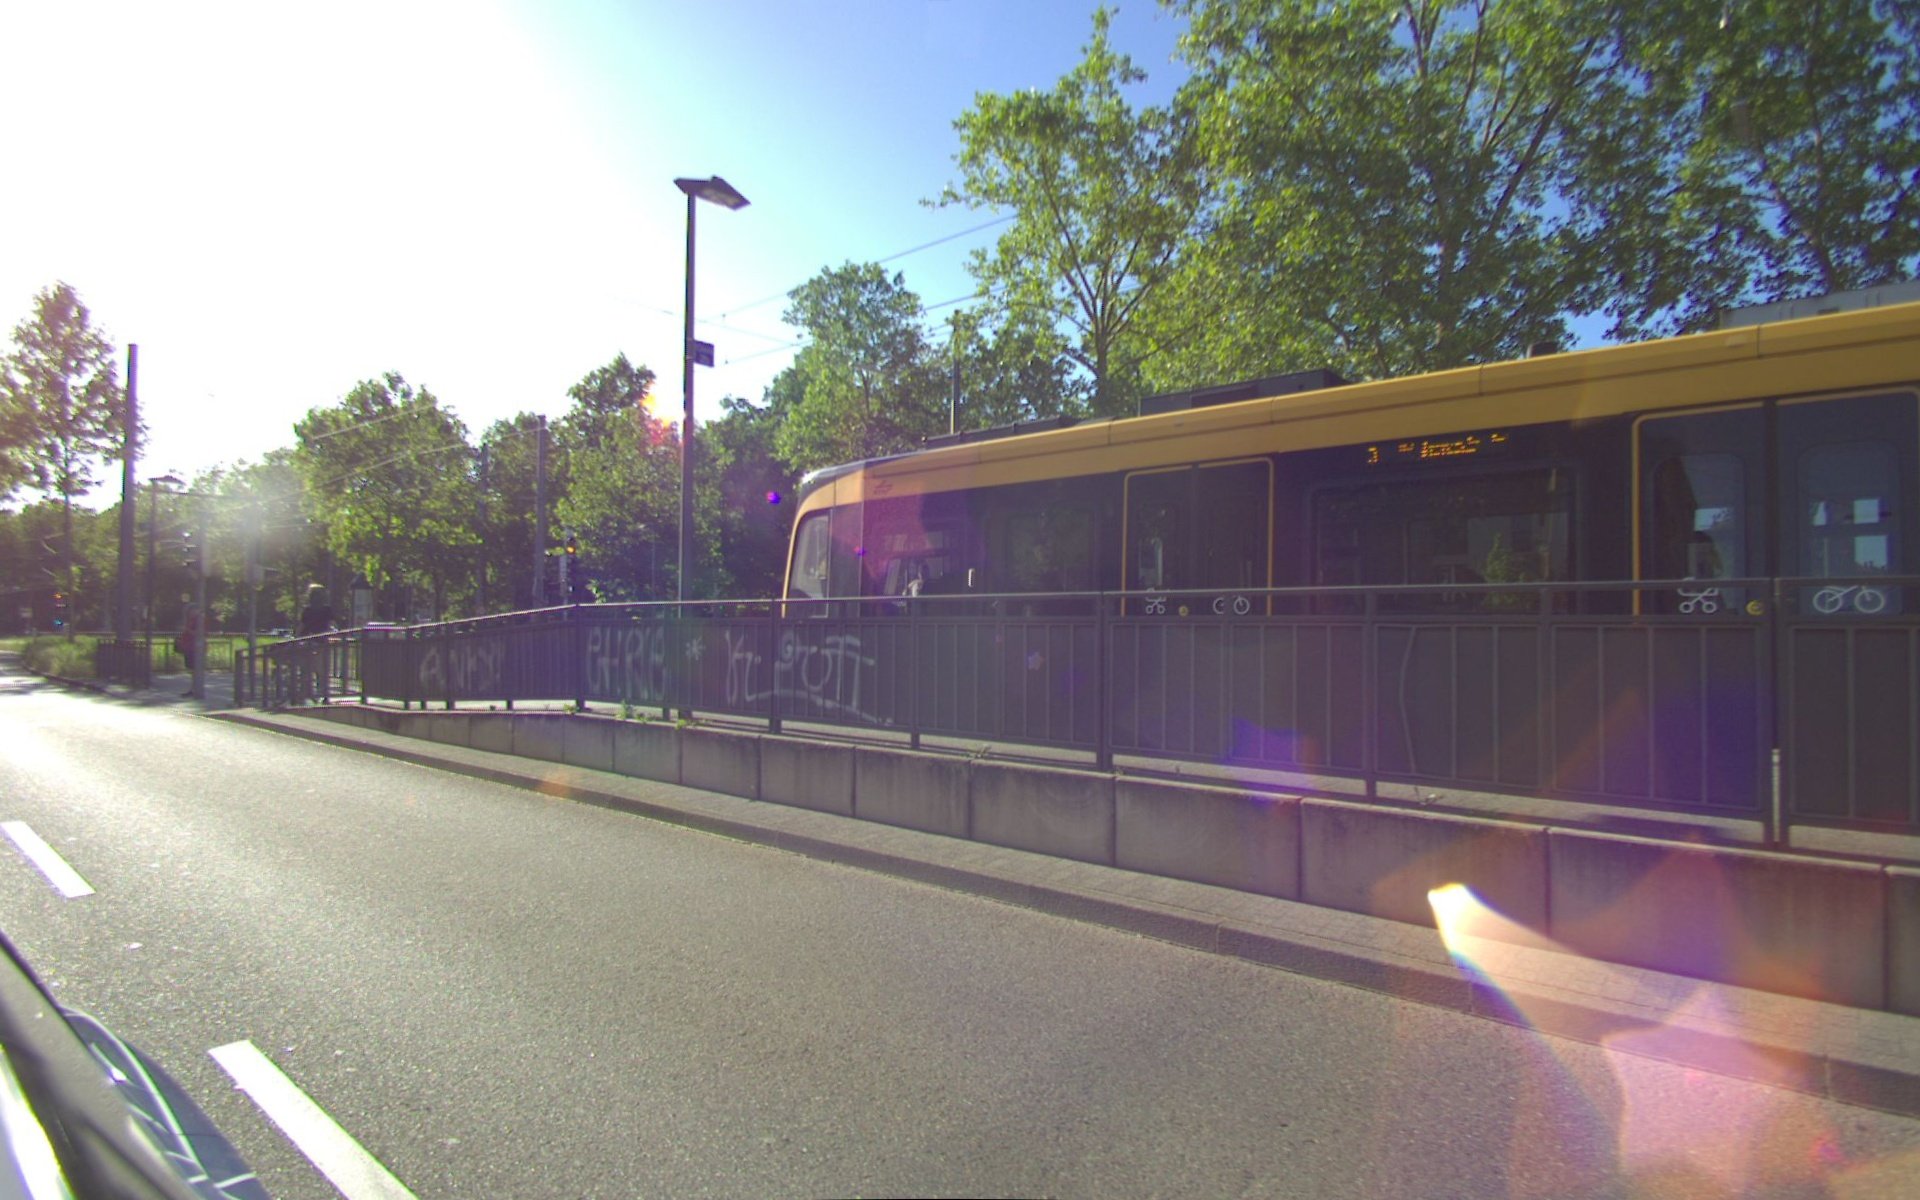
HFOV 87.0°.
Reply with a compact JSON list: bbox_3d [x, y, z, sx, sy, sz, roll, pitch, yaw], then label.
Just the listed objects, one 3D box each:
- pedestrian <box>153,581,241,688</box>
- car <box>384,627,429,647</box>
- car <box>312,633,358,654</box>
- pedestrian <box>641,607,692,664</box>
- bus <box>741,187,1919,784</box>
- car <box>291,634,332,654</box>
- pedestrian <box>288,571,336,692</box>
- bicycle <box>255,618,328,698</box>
[{"bbox_3d":[-14.348,0.650,19.033,1.126,1.931,1.061,-2,-2,39],"label":"pedestrian"},{"bbox_3d":[-41.228,2.764,75.378,3.778,1.322,1.750,-3,-1,41],"label":"car"},{"bbox_3d":[-53.898,3.721,87.199,4.508,1.696,1.974,-3,-1,39],"label":"car"},{"bbox_3d":[-8.792,1.059,30.304,0.890,1.656,1.167,-1,-2,34],"label":"pedestrian"},{"bbox_3d":[2.941,-0.550,10.126,13.212,3.470,2.838,-2,-2,42],"label":"bus"},{"bbox_3d":[-58.185,3.939,90.769,3.995,1.634,1.974,-3,-1,39],"label":"car"},{"bbox_3d":[-10.532,0.506,16.445,0.583,1.917,0.447,-1,-2,34],"label":"pedestrian"},{"bbox_3d":[-10.637,0.901,16.079,1.825,1.223,0.325,-1,-2,36],"label":"bicycle"}]
